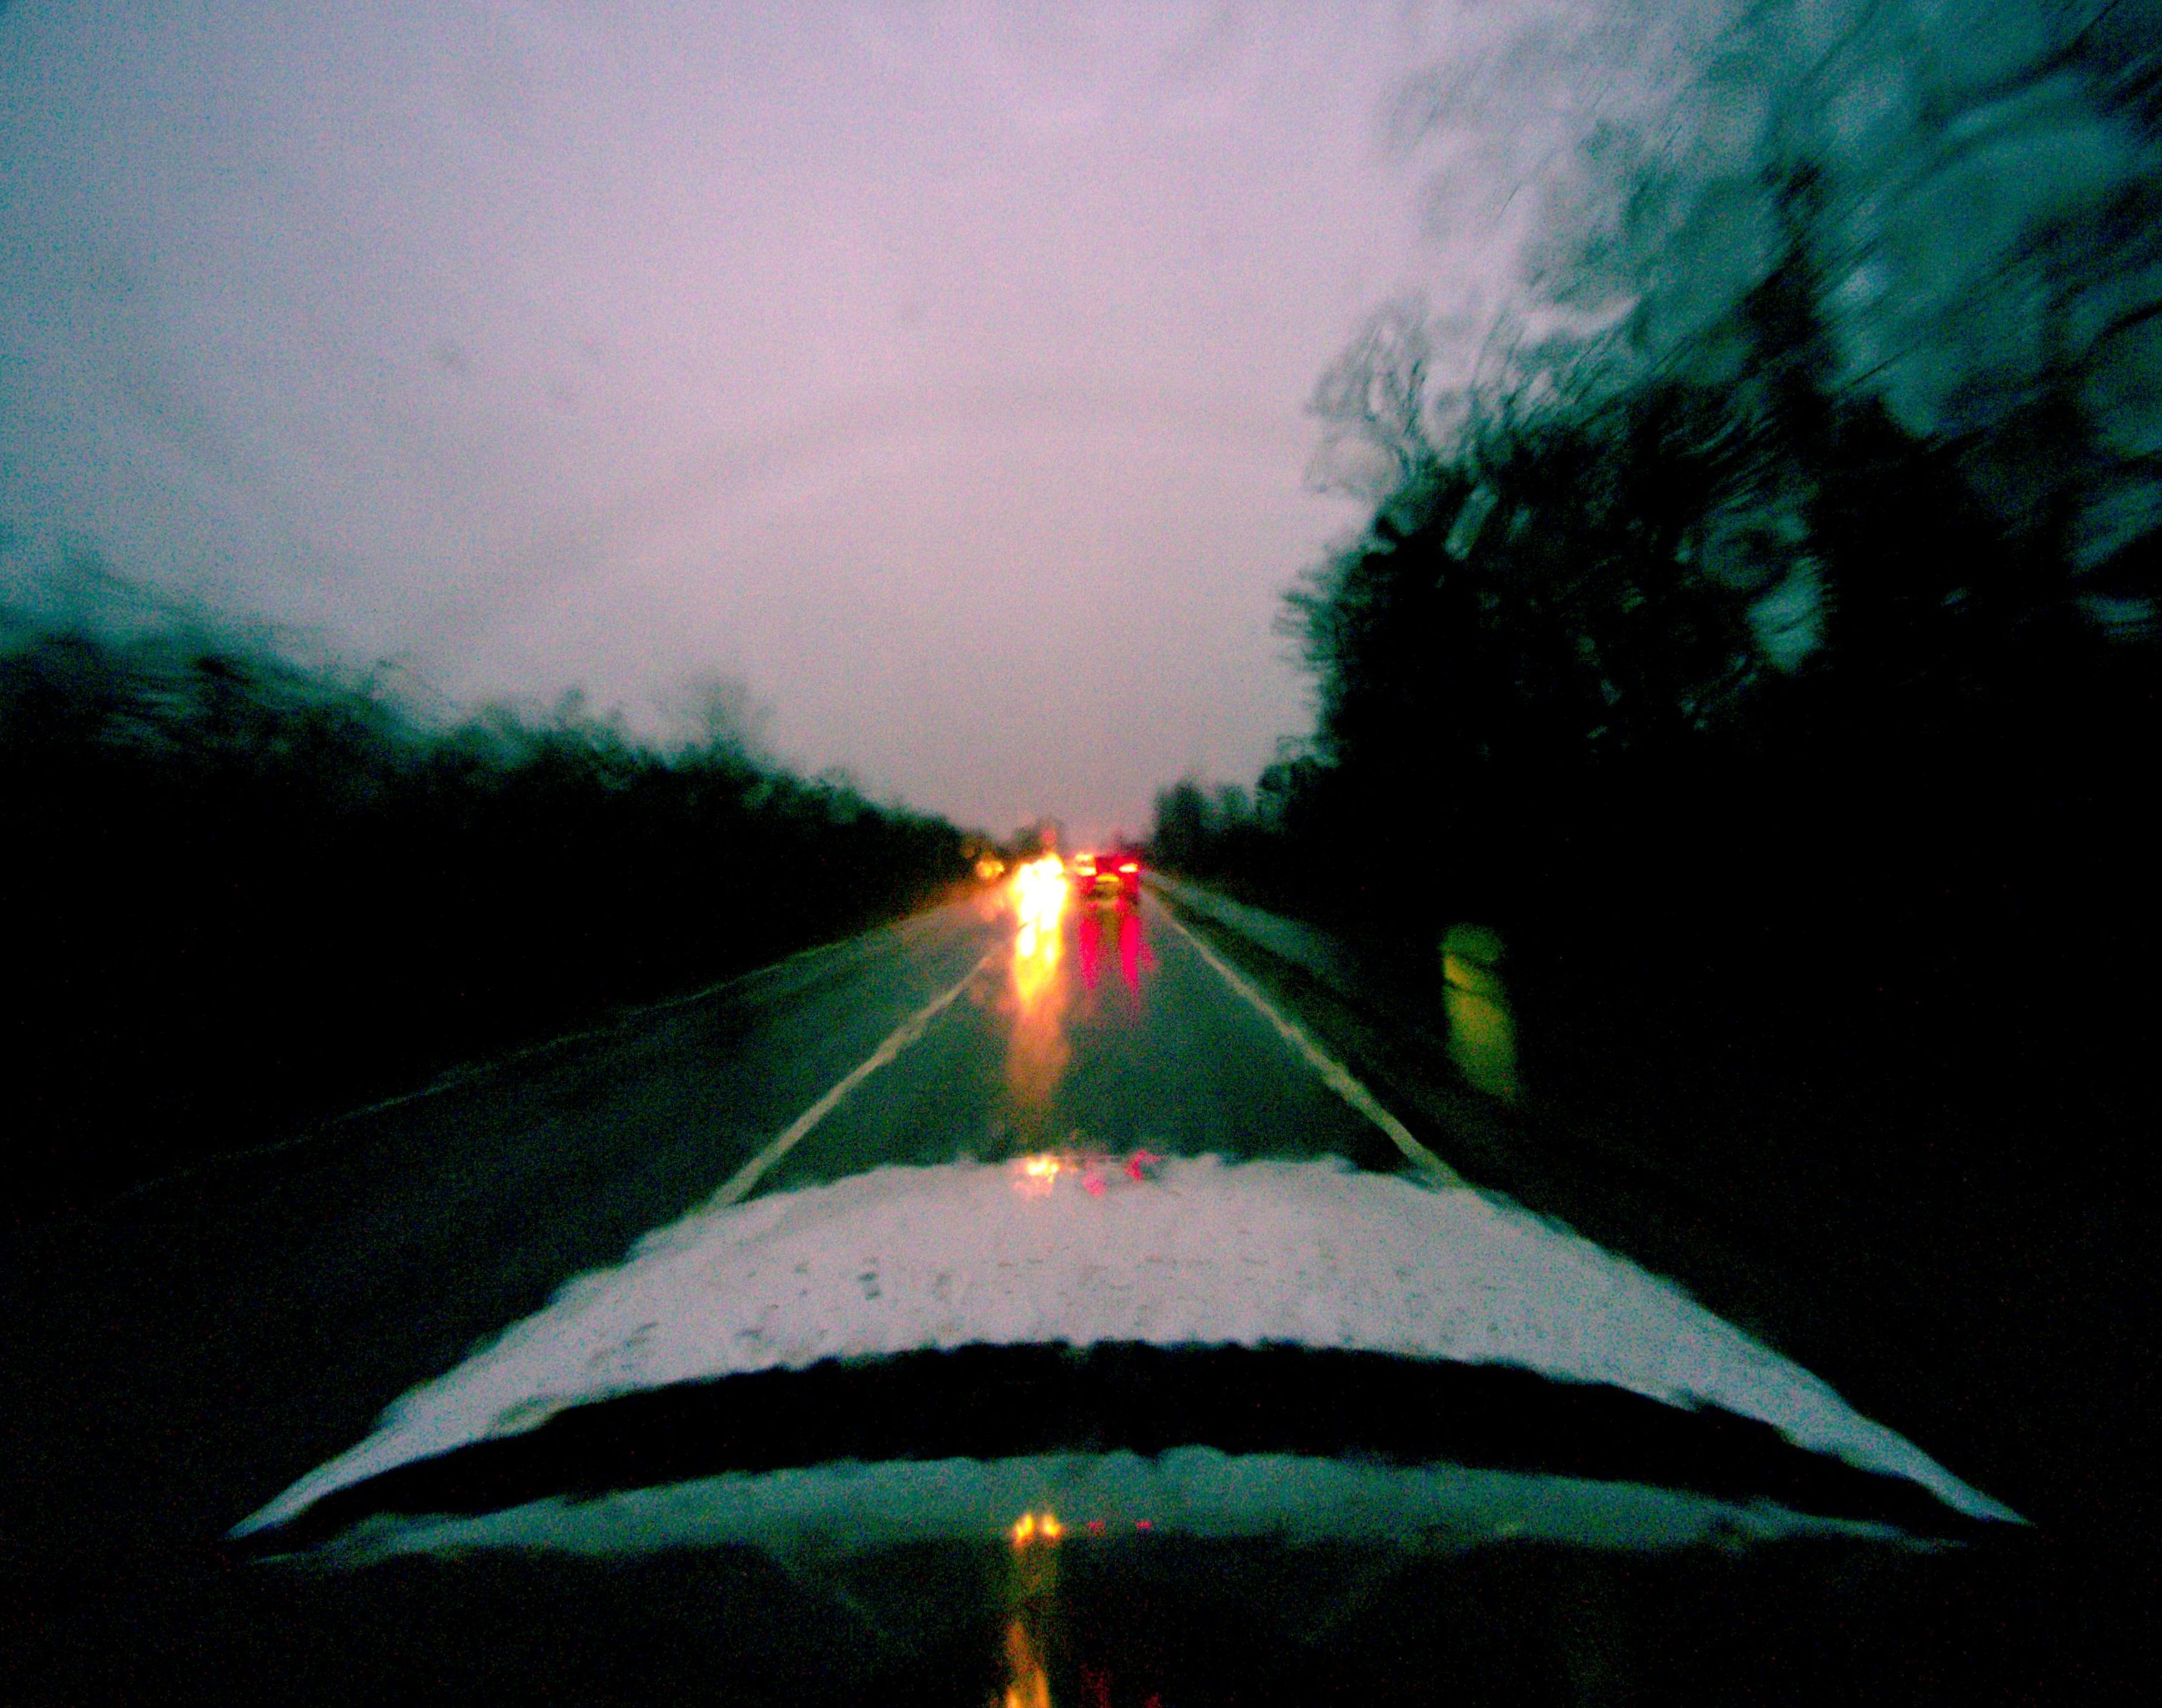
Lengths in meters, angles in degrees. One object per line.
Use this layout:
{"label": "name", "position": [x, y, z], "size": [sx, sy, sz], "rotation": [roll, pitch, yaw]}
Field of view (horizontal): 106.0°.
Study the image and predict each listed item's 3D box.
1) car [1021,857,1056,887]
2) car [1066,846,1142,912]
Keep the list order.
{"label": "car", "position": [-2.490, 1.051, 48.924], "size": [1.761, 1.598, 4.000], "rotation": [-4, 0, 1]}
{"label": "car", "position": [0.711, 0.689, 25.356], "size": [2.112, 1.820, 4.981], "rotation": [-1, 0, 1]}
